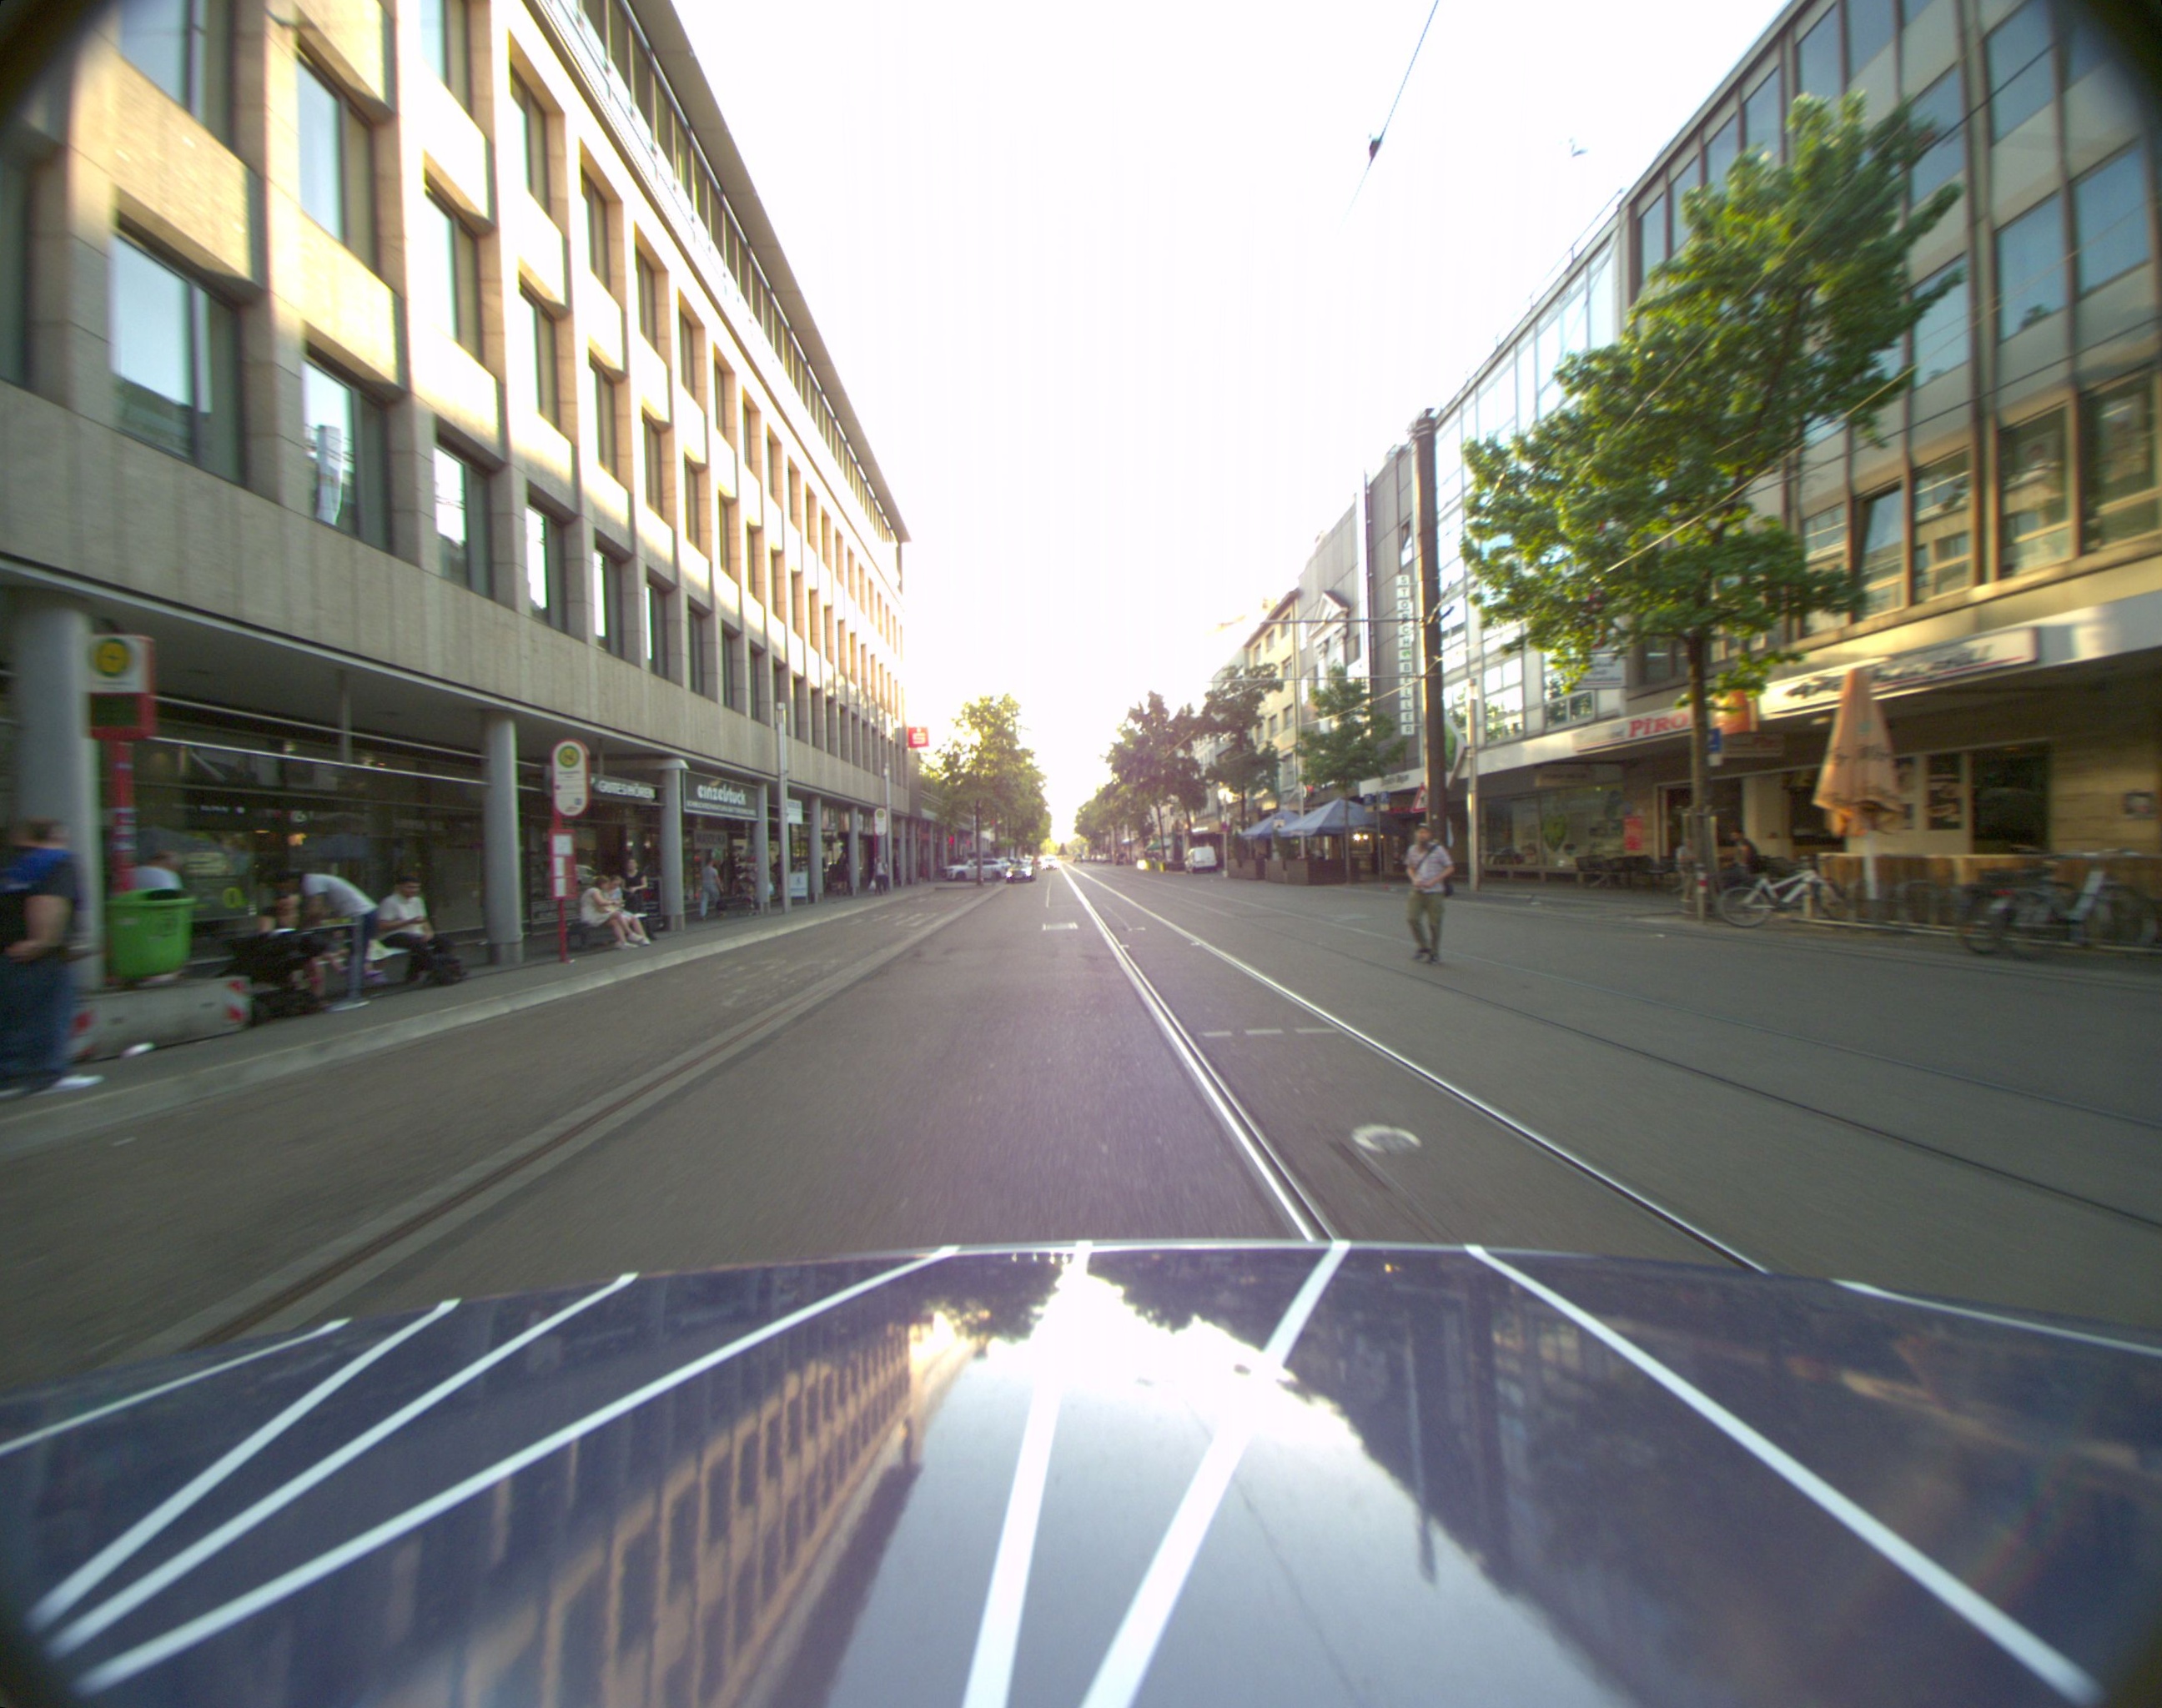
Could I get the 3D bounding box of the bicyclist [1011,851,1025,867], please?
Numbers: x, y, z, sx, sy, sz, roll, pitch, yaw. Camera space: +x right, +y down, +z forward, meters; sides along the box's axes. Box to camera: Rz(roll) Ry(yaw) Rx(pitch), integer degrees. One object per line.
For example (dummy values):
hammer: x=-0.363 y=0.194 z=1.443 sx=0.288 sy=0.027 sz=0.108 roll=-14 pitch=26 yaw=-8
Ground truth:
bicyclist: x=-5.488 y=0.434 z=66.191 sx=0.895 sy=1.406 sz=0.762 roll=-2 pitch=0 yaw=30

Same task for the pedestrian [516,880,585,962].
pedestrian: x=-8.934 y=1.120 z=12.814 sx=0.720 sy=1.307 sz=0.532 roll=-2 pitch=1 yaw=0

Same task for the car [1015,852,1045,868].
car: x=-6.921 y=0.775 z=102.751 sx=1.860 sy=1.776 sz=4.007 roll=-4 pitch=1 yaw=33

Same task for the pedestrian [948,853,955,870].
pedestrian: x=-12.932 y=0.769 z=75.730 sx=0.558 sy=1.681 sz=0.628 roll=-1 pitch=1 yaw=-1

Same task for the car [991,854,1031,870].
car: x=-7.864 y=0.887 z=85.178 sx=4.005 sy=1.501 sz=1.861 roll=-5 pitch=1 yaw=-31

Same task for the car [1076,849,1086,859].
car: x=-0.014 y=-0.004 z=165.797 sx=1.999 sy=2.002 sz=3.999 roll=-1 pitch=0 yaw=-1

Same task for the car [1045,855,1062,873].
car: x=-3.306 y=1.194 z=91.758 sx=1.999 sy=2.002 sz=3.999 roll=-1 pitch=0 yaw=-1

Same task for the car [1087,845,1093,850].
car: x=2.829 y=-2.132 z=235.980 sx=1.799 sy=1.501 sz=3.999 roll=-1 pitch=0 yaw=-1

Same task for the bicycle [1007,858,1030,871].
bicycle: x=-5.459 y=0.926 z=66.198 sx=1.861 sy=1.067 sz=0.734 roll=-2 pitch=0 yaw=30

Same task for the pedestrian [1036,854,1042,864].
pedestrian: x=-5.987 y=0.693 z=108.445 sx=0.650 sy=1.451 sz=0.649 roll=-2 pitch=1 yaw=-18

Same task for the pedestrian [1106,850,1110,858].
pedestrian: x=5.292 y=-0.045 z=146.889 sx=0.650 sy=1.451 sz=0.650 roll=-2 pitch=1 yaw=-3

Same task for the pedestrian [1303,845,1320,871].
pedestrian: x=13.320 y=0.214 z=43.863 sx=0.662 sy=1.426 sz=0.643 roll=-6 pitch=2 yaw=-2

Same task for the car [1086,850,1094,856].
car: x=2.120 y=-0.256 z=188.524 sx=1.799 sy=1.501 sz=3.999 roll=-1 pitch=0 yaw=-1

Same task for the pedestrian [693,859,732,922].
pedestrian: x=-9.935 y=0.982 z=20.499 sx=0.689 sy=1.652 sz=0.722 roll=-1 pitch=1 yaw=-1

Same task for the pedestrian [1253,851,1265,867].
pedestrian: x=13.016 y=0.346 z=55.670 sx=0.650 sy=1.168 sz=0.650 roll=-2 pitch=1 yaw=-7

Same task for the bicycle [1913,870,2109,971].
bicycle: x=10.391 y=0.720 z=8.505 sx=1.777 sy=0.984 sz=0.489 roll=-3 pitch=0 yaw=-7

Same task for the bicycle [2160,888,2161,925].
bicycle: x=10.448 y=0.737 z=6.566 sx=1.777 sy=0.984 sz=0.489 roll=-3 pitch=0 yaw=-7

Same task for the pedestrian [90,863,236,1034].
pedestrian: x=-9.322 y=0.928 z=7.743 sx=0.650 sy=1.652 sz=0.650 roll=-1 pitch=1 yaw=-1

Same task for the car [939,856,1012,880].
car: x=-7.357 y=0.968 z=53.034 sx=4.646 sy=1.619 sz=1.914 roll=1 pitch=-2 yaw=-33

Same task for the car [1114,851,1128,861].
car: x=6.107 y=0.299 z=116.493 sx=1.799 sy=1.501 sz=3.999 roll=-1 pitch=0 yaw=-1

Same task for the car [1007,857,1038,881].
car: x=-3.847 y=0.981 z=50.521 sx=1.799 sy=1.400 sz=4.564 roll=-2 pitch=1 yaw=-2

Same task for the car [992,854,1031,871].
car: x=-8.204 y=0.999 z=89.766 sx=4.004 sy=1.776 sz=1.861 roll=-4 pitch=1 yaw=-25

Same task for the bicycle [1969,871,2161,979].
bicycle: x=10.414 y=0.724 z=7.977 sx=1.777 sy=0.984 sz=0.489 roll=-3 pitch=0 yaw=-7

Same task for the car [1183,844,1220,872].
car: x=8.650 y=0.296 z=54.845 sx=1.831 sy=1.811 sz=4.329 roll=-4 pitch=0 yaw=0

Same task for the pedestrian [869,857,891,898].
pedestrian: x=-8.082 y=0.938 z=30.582 sx=0.670 sy=1.579 sz=0.638 roll=-3 pitch=1 yaw=-2

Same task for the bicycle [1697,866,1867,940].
bicycle: x=10.218 y=0.716 z=11.130 sx=1.774 sy=0.960 sz=0.490 roll=-3 pitch=1 yaw=15

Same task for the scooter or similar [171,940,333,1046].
scooter or similar: x=-7.976 y=1.324 z=7.338 sx=0.834 sy=0.879 sz=0.687 roll=-3 pitch=1 yaw=13

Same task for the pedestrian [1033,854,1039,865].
pedestrian: x=-6.296 y=0.731 z=105.816 sx=0.650 sy=1.451 sz=0.649 roll=-2 pitch=1 yaw=-18

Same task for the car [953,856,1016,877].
car: x=-7.633 y=0.951 z=60.361 sx=4.646 sy=1.578 sz=1.913 roll=0 pitch=0 yaw=-36

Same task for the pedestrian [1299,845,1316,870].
pedestrian: x=13.289 y=0.208 z=44.581 sx=0.662 sy=1.426 sz=0.643 roll=-6 pitch=2 yaw=-2
